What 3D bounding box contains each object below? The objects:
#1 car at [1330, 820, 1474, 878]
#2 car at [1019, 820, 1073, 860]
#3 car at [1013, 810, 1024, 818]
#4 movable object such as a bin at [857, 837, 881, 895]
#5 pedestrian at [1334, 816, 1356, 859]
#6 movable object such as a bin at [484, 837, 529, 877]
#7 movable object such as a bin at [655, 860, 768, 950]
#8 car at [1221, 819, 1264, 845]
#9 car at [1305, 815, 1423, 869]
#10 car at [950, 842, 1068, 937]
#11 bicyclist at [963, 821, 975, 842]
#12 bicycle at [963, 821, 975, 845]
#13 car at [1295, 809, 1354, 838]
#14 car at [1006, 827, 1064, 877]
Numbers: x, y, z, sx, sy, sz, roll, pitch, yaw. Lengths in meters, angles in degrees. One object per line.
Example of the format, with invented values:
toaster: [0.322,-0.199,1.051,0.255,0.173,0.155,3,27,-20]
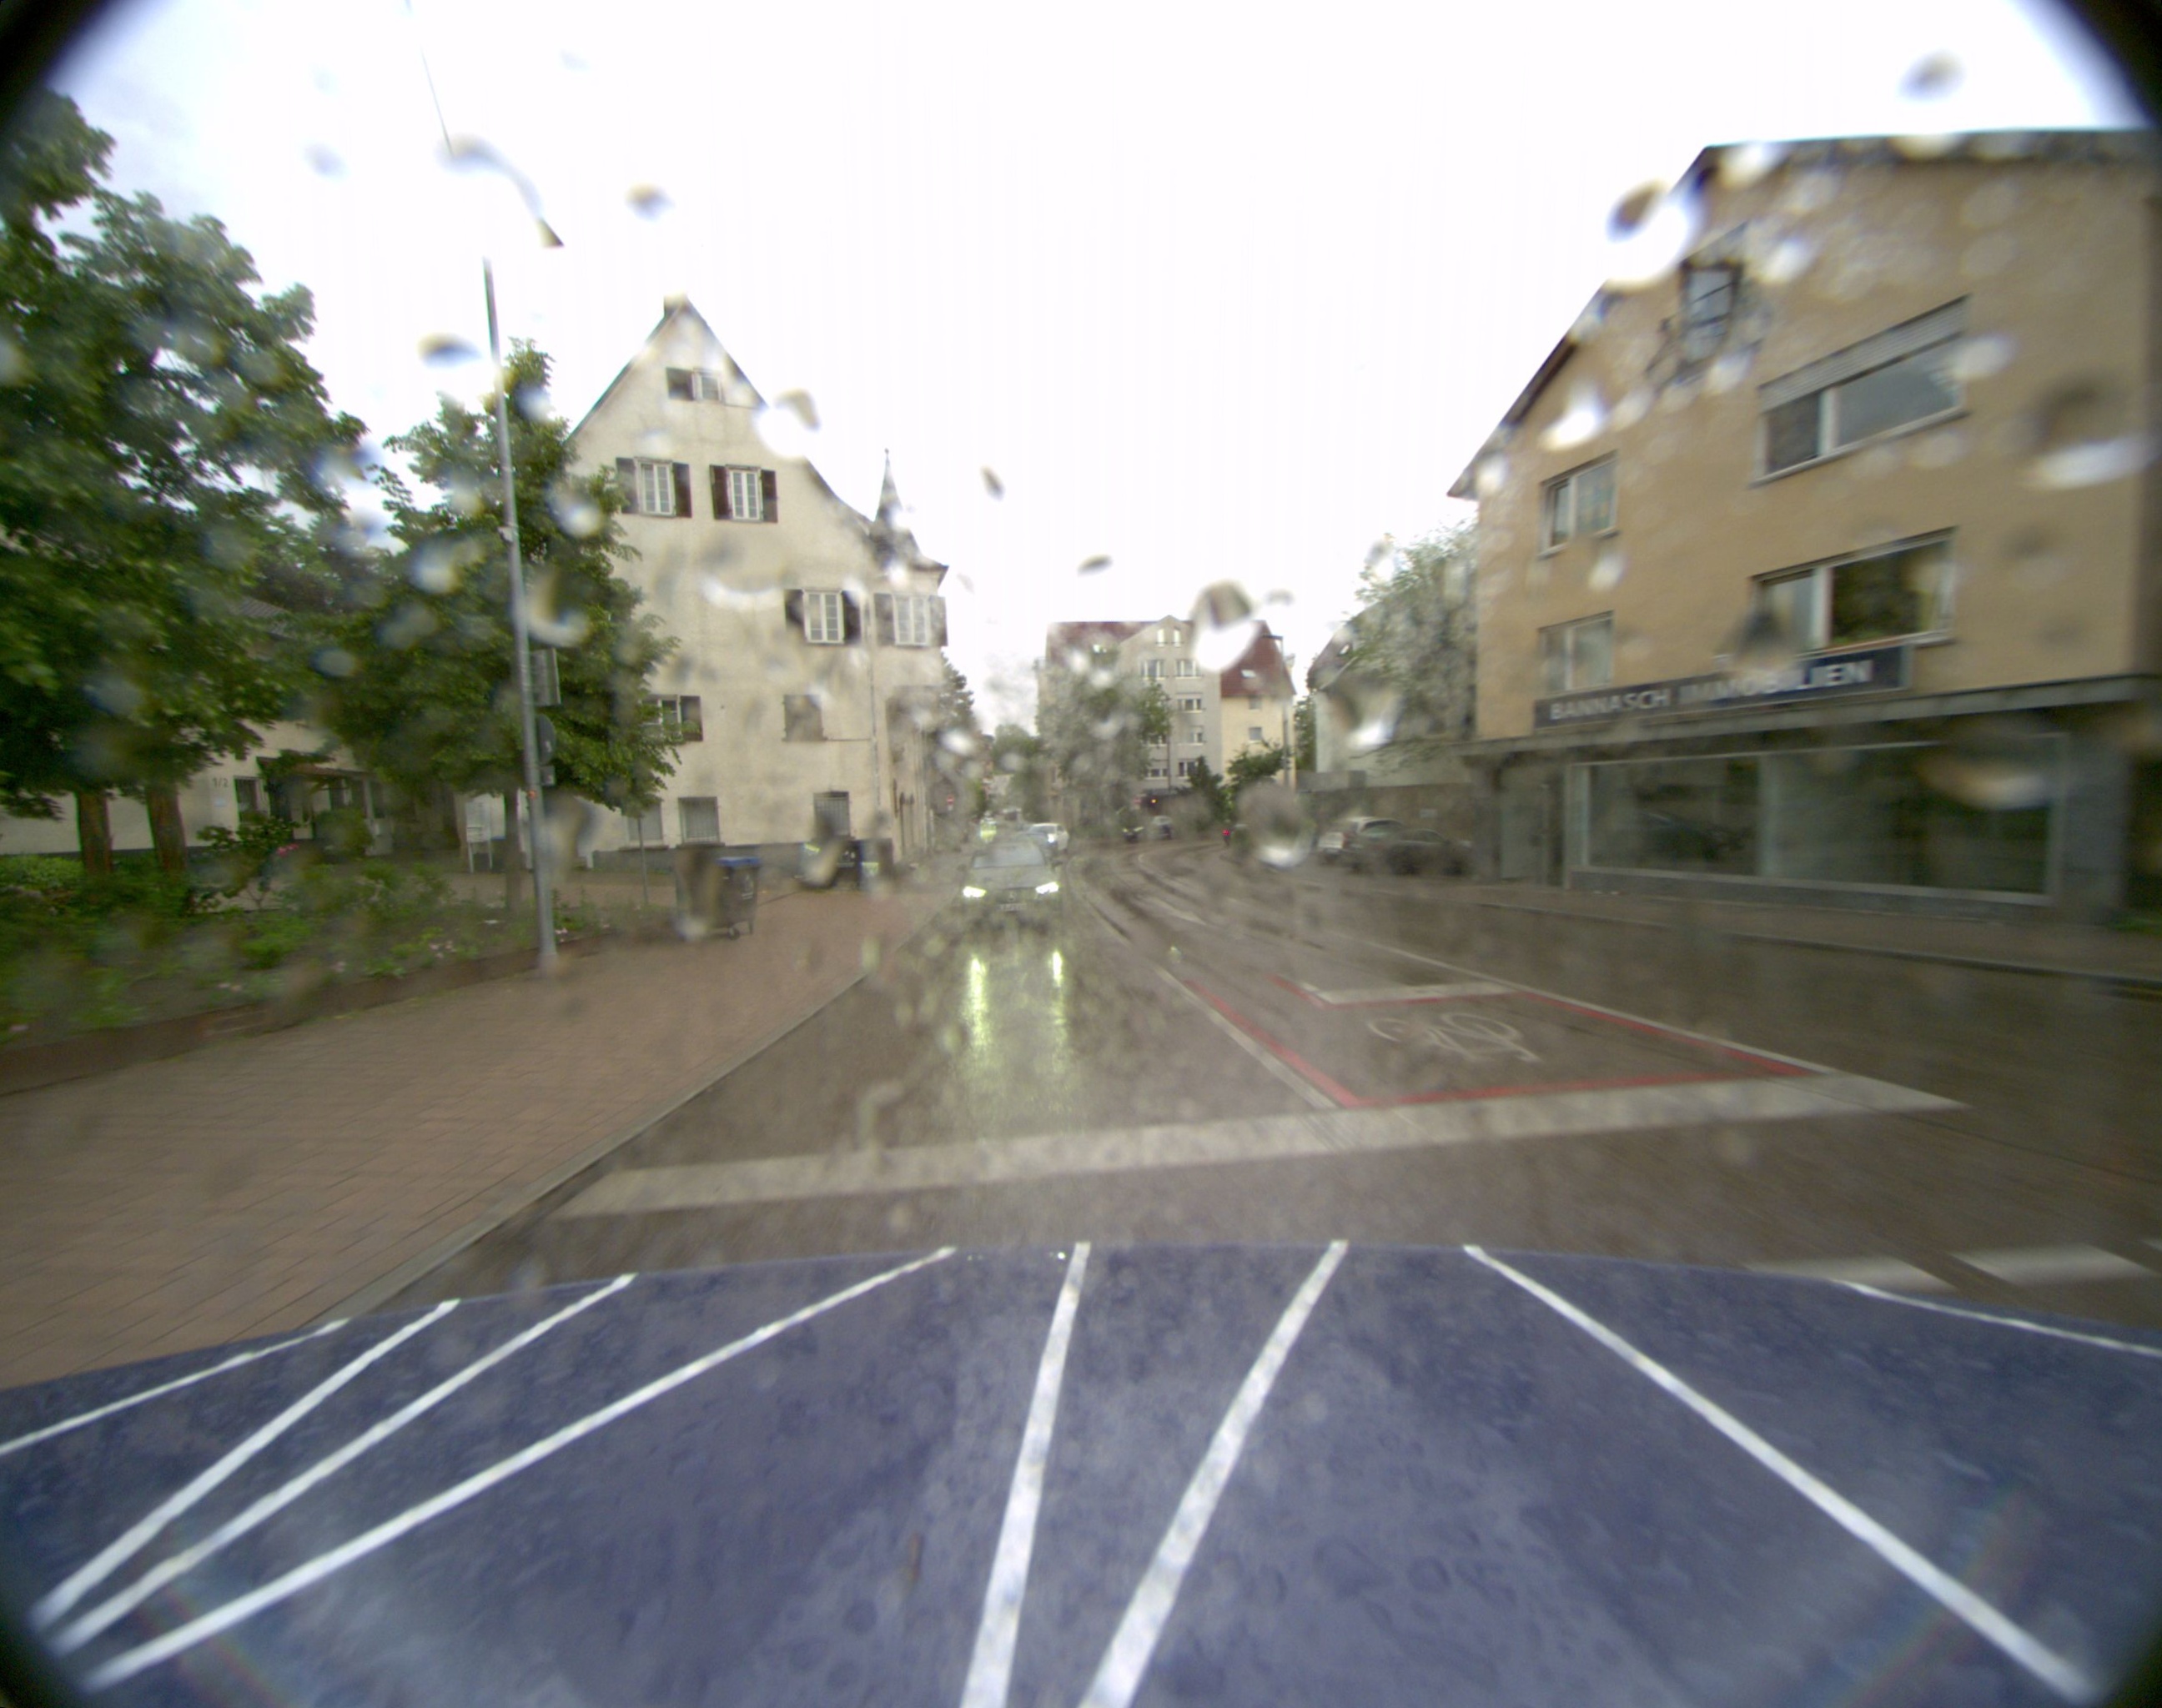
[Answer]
car: [9.736,-0.217,23.030,4.004,1.446,1.895,-5,5,-27]
car: [-1.661,-0.745,37.784,1.811,1.558,3.998,1,8,10]
car: [-13.248,-8.576,161.435,1.999,1.565,3.998,-1,2,-1]
movable object such as a bin: [-5.518,0.291,19.787,0.413,1.435,0.642,-4,7,-28]
pedestrian: [9.782,-0.617,28.125,0.544,1.567,0.656,-3,3,3]
movable object such as a bin: [-14.317,0.071,18.945,0.658,0.918,0.592,0,8,-13]
movable object such as a bin: [-5.979,0.798,12.384,1.157,1.306,1.186,-2,4,2]
car: [9.827,-1.369,45.968,1.863,1.379,4.266,-3,2,20]
car: [9.818,-0.476,26.358,3.650,1.620,1.994,-4,4,-31]
car: [-1.345,0.575,15.325,1.999,1.485,4.310,-2,3,-3]
bicyclist: [-10.581,-2.135,71.842,0.686,1.513,1.025,16,40,-17]
bicycle: [-10.612,-2.022,72.087,0.765,2.070,1.031,15,-48,-17]
car: [17.255,-2.126,53.824,4.386,1.870,1.995,-2,-1,-43]
car: [-1.741,-0.152,27.574,1.774,1.525,4.372,-2,4,-7]
